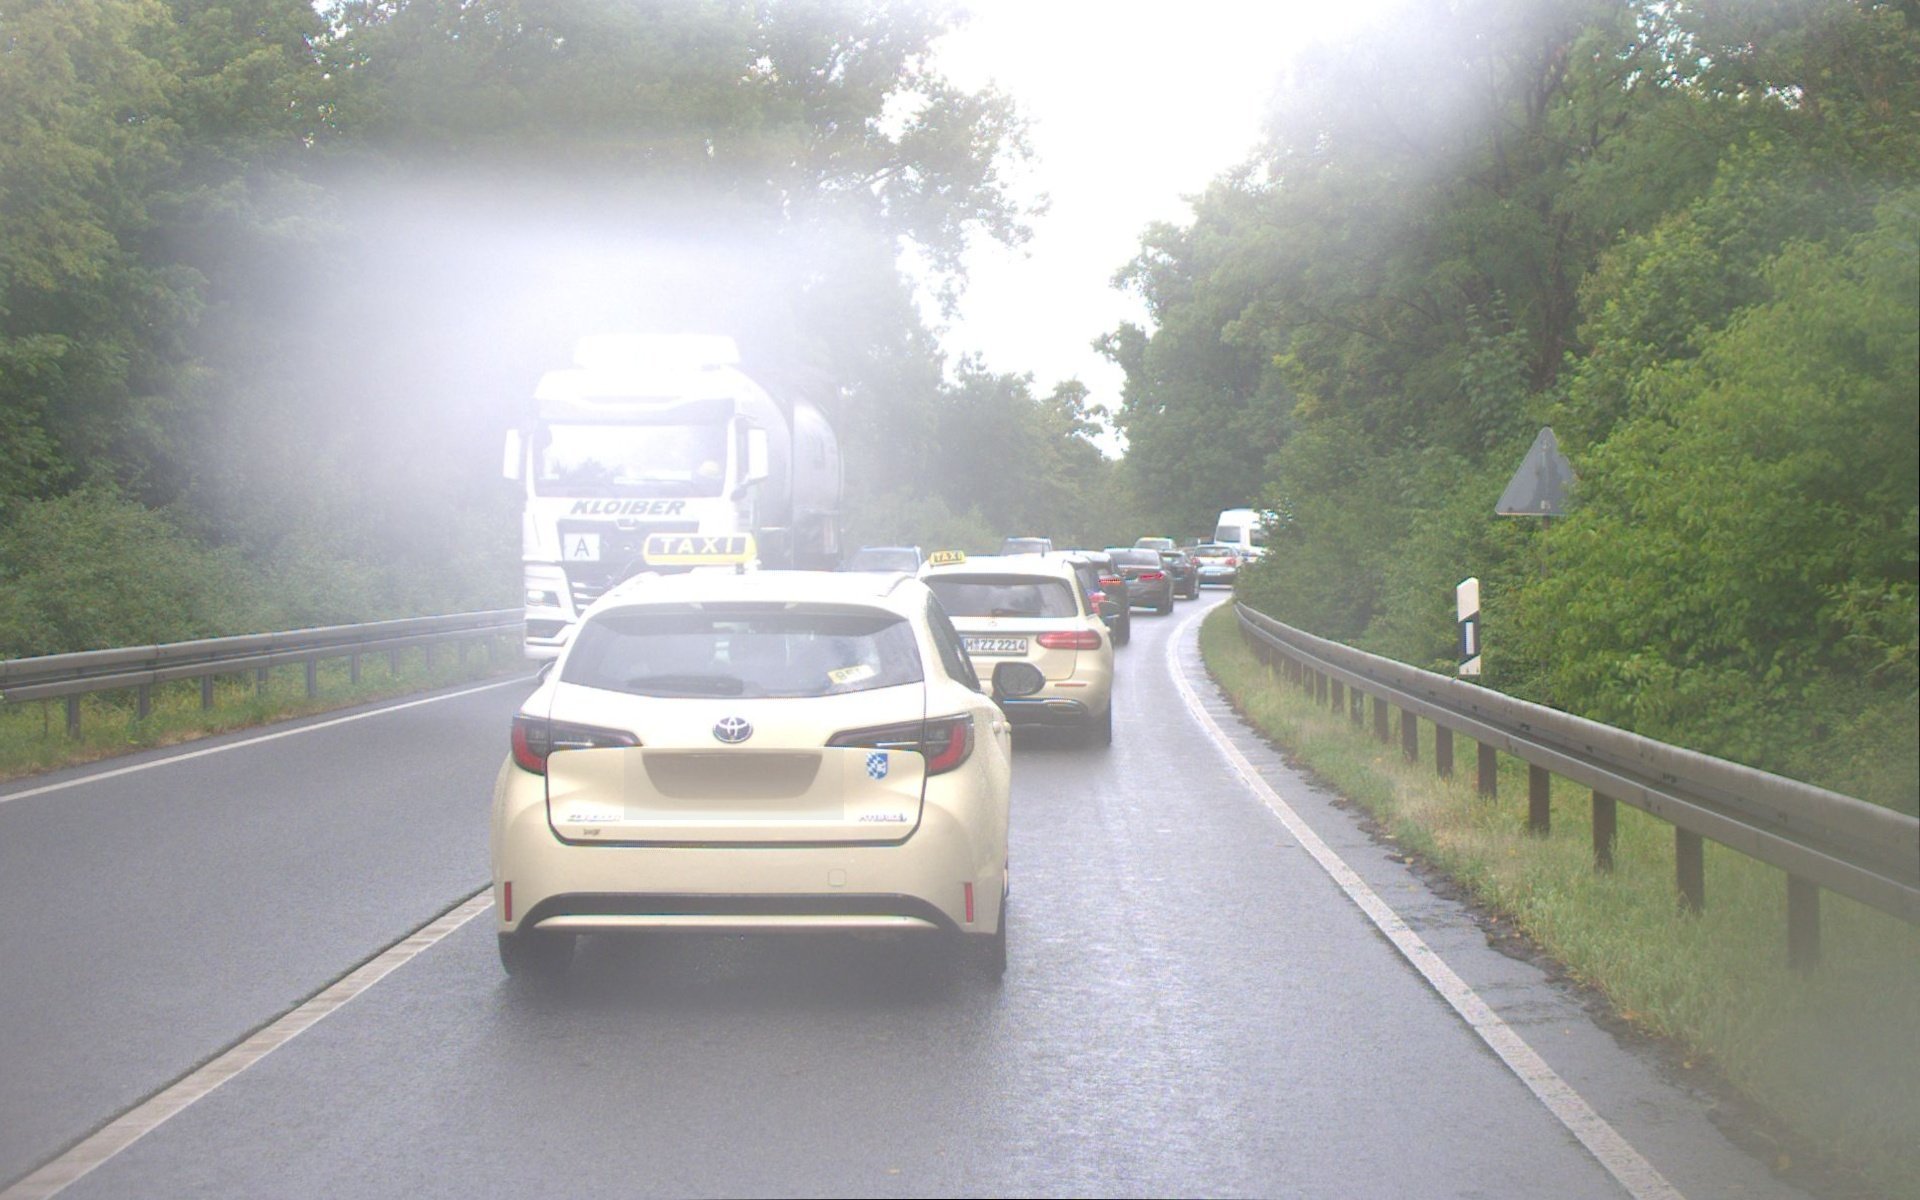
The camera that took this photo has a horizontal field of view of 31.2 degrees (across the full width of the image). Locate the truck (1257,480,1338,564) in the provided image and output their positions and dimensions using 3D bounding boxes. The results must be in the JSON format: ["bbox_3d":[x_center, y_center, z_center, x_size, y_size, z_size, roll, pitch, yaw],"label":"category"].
[{"bbox_3d":[15.513,-3.551,157.688,3.108,3.668,6.997,1,0,10],"label":"truck"}]

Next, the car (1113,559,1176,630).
[{"bbox_3d":[4.140,-0.132,76.950,1.167,1.541,2.603,1,0,8],"label":"car"}]

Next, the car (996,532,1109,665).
[{"bbox_3d":[1.137,-0.032,41.947,1.300,1.541,3.260,1,0,2],"label":"car"}]

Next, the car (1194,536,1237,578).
[{"bbox_3d":[12.777,-2.144,171.978,1.584,2.007,3.759,1,0,13],"label":"car"}]

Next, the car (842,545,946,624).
[{"bbox_3d":[-1.289,-0.317,69.018,1.707,1.510,3.912,1,0,4],"label":"car"}]

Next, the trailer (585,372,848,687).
[{"bbox_3d":[-3.102,-0.883,45.846,2.536,3.812,7.791,1,0,3],"label":"trailer"}]

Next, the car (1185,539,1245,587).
[{"bbox_3d":[8.490,-1.232,114.238,1.770,1.541,3.813,1,0,7],"label":"car"}]

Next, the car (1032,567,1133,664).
[{"bbox_3d":[2.049,0.230,56.845,1.611,1.541,3.814,0,1,3],"label":"car"}]

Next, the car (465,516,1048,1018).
[{"bbox_3d":[-0.663,0.520,13.034,1.833,1.575,4.157,1,0,0],"label":"car"}]

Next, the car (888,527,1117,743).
[{"bbox_3d":[0.401,0.249,27.455,1.667,1.575,3.892,1,0,3],"label":"car"}]

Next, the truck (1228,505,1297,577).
[{"bbox_3d":[11.970,-2.308,136.484,2.550,2.704,7.534,1,0,4],"label":"truck"}]

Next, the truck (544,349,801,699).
[{"bbox_3d":[-3.287,-0.854,40.466,2.536,3.812,5.245,1,0,0],"label":"truck"}]
